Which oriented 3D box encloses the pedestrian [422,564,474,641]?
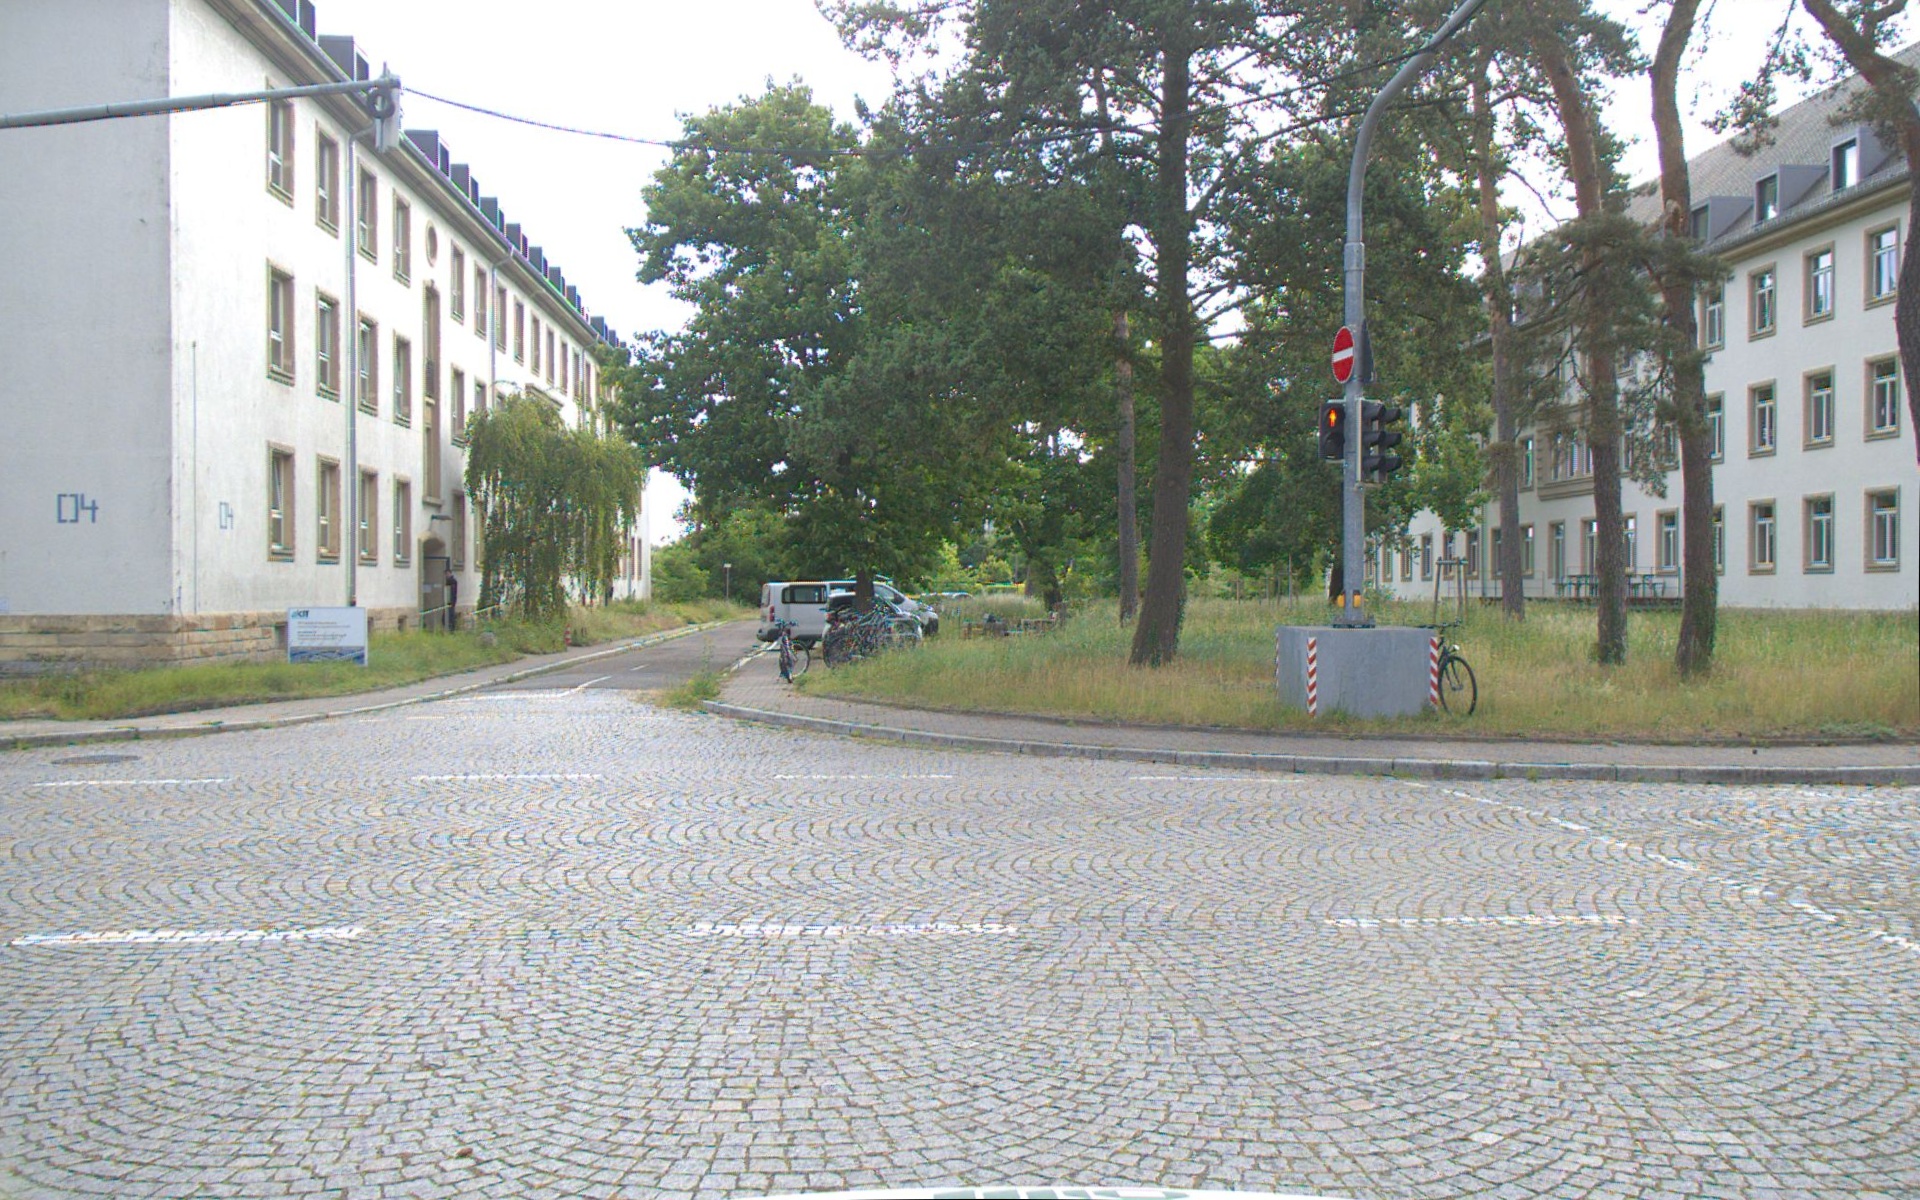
[{"bbox_3d":[-13.855,0.060,44.796,1.064,2.049,1.022,0,0,1],"label":"pedestrian"}]

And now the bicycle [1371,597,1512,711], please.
[{"bbox_3d":[5.299,0.562,18.332,0.891,1.197,1.872,0,0,-5],"label":"bicycle"}]

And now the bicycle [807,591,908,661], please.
[{"bbox_3d":[-2.090,0.517,33.757,2.028,1.402,0.619,0,0,-3],"label":"bicycle"}]

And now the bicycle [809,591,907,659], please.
[{"bbox_3d":[-2.124,0.520,34.504,2.028,1.402,0.619,0,0,-3],"label":"bicycle"}]

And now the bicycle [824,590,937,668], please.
[{"bbox_3d":[-1.447,0.522,30.166,2.028,1.402,0.619,0,0,-3],"label":"bicycle"}]

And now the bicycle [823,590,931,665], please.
[{"bbox_3d":[-1.577,0.523,31.455,2.028,1.402,0.619,0,0,-3],"label":"bicycle"}]

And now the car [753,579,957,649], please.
[{"bbox_3d":[-3.057,0.367,47.976,5.600,1.944,2.220,0,0,-16],"label":"car"}]

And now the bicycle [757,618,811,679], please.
[{"bbox_3d":[-2.989,0.813,28.263,0.605,0.980,2.077,0,0,3],"label":"bicycle"}]

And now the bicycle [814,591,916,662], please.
[{"bbox_3d":[-1.894,0.519,33.031,2.028,1.402,0.619,0,0,-3],"label":"bicycle"}]

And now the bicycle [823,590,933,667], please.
[{"bbox_3d":[-1.533,0.522,30.832,2.028,1.402,0.619,0,0,-3],"label":"bicycle"}]

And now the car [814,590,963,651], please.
[{"bbox_3d":[-1.965,0.529,44.675,3.859,1.571,1.996,0,0,-9],"label":"car"}]

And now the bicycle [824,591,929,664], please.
[{"bbox_3d":[-1.620,0.526,32.250,2.028,1.402,0.619,0,0,-3],"label":"bicycle"}]
